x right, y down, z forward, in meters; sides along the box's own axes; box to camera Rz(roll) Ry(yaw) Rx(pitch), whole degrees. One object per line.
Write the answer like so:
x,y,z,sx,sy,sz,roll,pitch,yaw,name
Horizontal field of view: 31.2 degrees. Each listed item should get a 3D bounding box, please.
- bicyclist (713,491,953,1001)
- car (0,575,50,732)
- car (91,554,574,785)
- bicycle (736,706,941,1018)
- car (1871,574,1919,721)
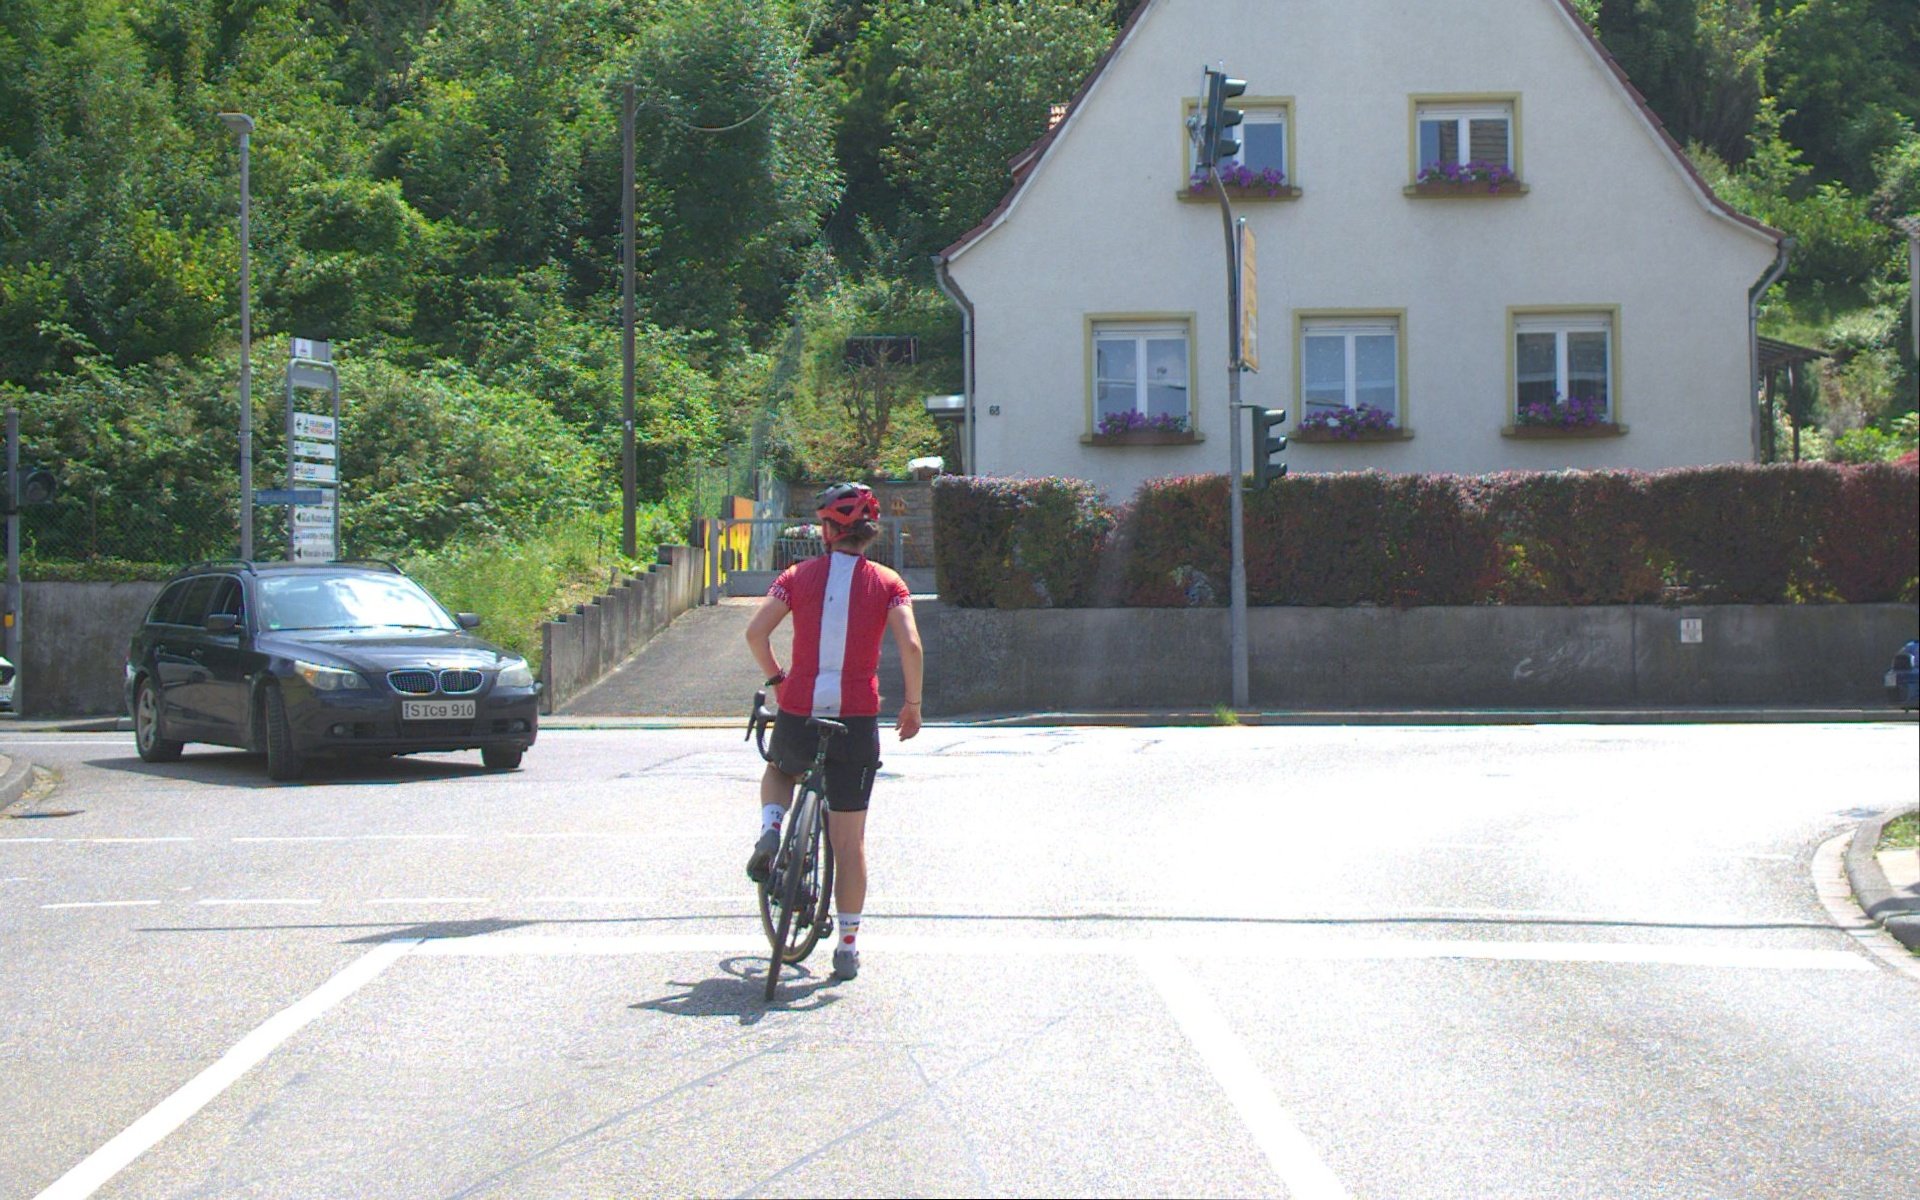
-0.427,0.472,11.663,0.760,1.659,0.869,1,1,-2,bicyclist
-11.001,0.496,31.700,4.664,1.422,1.927,0,-1,5,car
-4.593,0.445,24.578,1.863,1.437,4.671,-2,1,-30,car
-0.405,0.851,11.641,0.630,0.902,1.657,1,1,-2,bicycle
10.663,0.486,32.698,3.609,1.358,1.644,1,-2,3,car
